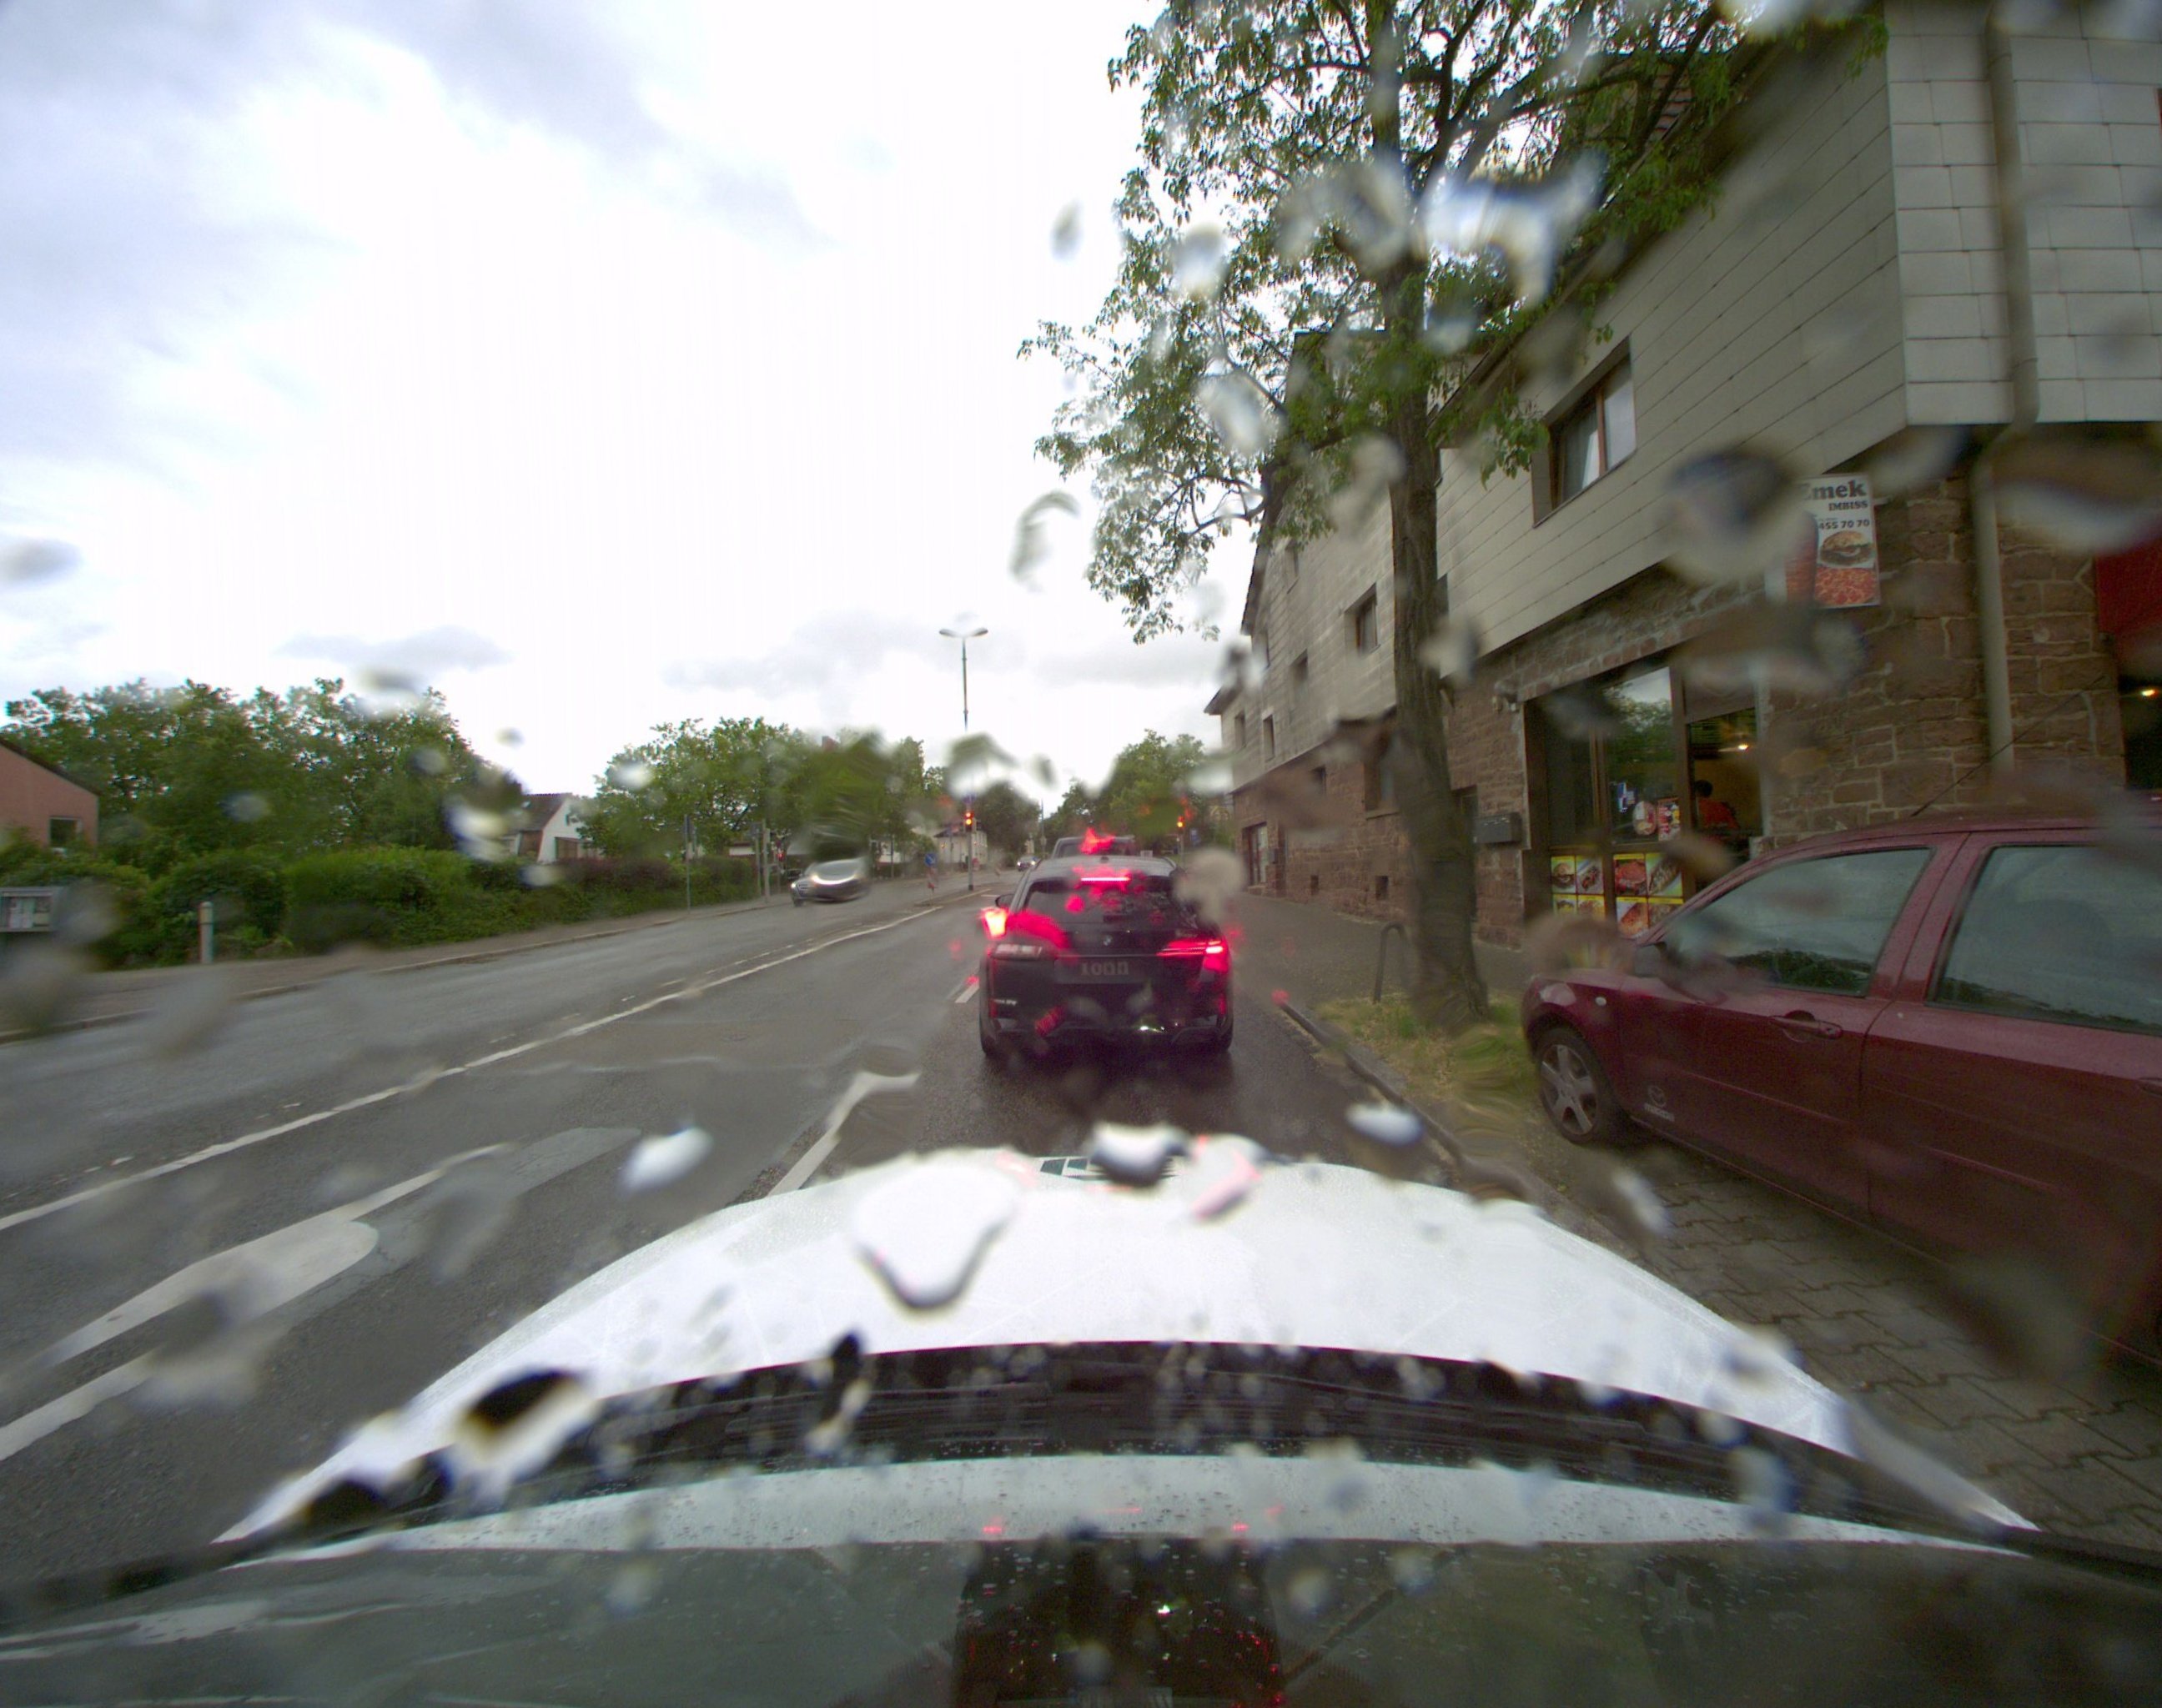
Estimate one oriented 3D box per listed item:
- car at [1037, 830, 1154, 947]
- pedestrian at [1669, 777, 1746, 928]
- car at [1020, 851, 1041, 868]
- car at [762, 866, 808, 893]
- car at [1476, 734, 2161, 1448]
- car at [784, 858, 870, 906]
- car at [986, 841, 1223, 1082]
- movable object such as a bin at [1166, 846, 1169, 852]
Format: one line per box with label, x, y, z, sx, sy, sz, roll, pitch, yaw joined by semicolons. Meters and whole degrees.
car;0.196;0.556;14.610;1.807;1.809;3.754;0;-1;-1
pedestrian;7.067;-0.013;9.201;0.490;1.660;0.455;0;-1;1
car;-5.127;0.504;82.943;1.893;1.577;4.500;-2;1;-1
car;-20.982;1.763;57.898;1.803;1.551;4.001;0;3;0
car;3.061;0.530;2.700;1.606;1.504;3.754;0;-2;-1
car;-9.576;0.999;31.043;1.903;1.590;4.315;-3;0;-1
car;0.120;0.702;7.016;1.519;1.534;3.530;0;-1;-1
movable object such as a bin;12.226;-0.704;115.192;0.446;0.906;0.465;-1;-1;17
